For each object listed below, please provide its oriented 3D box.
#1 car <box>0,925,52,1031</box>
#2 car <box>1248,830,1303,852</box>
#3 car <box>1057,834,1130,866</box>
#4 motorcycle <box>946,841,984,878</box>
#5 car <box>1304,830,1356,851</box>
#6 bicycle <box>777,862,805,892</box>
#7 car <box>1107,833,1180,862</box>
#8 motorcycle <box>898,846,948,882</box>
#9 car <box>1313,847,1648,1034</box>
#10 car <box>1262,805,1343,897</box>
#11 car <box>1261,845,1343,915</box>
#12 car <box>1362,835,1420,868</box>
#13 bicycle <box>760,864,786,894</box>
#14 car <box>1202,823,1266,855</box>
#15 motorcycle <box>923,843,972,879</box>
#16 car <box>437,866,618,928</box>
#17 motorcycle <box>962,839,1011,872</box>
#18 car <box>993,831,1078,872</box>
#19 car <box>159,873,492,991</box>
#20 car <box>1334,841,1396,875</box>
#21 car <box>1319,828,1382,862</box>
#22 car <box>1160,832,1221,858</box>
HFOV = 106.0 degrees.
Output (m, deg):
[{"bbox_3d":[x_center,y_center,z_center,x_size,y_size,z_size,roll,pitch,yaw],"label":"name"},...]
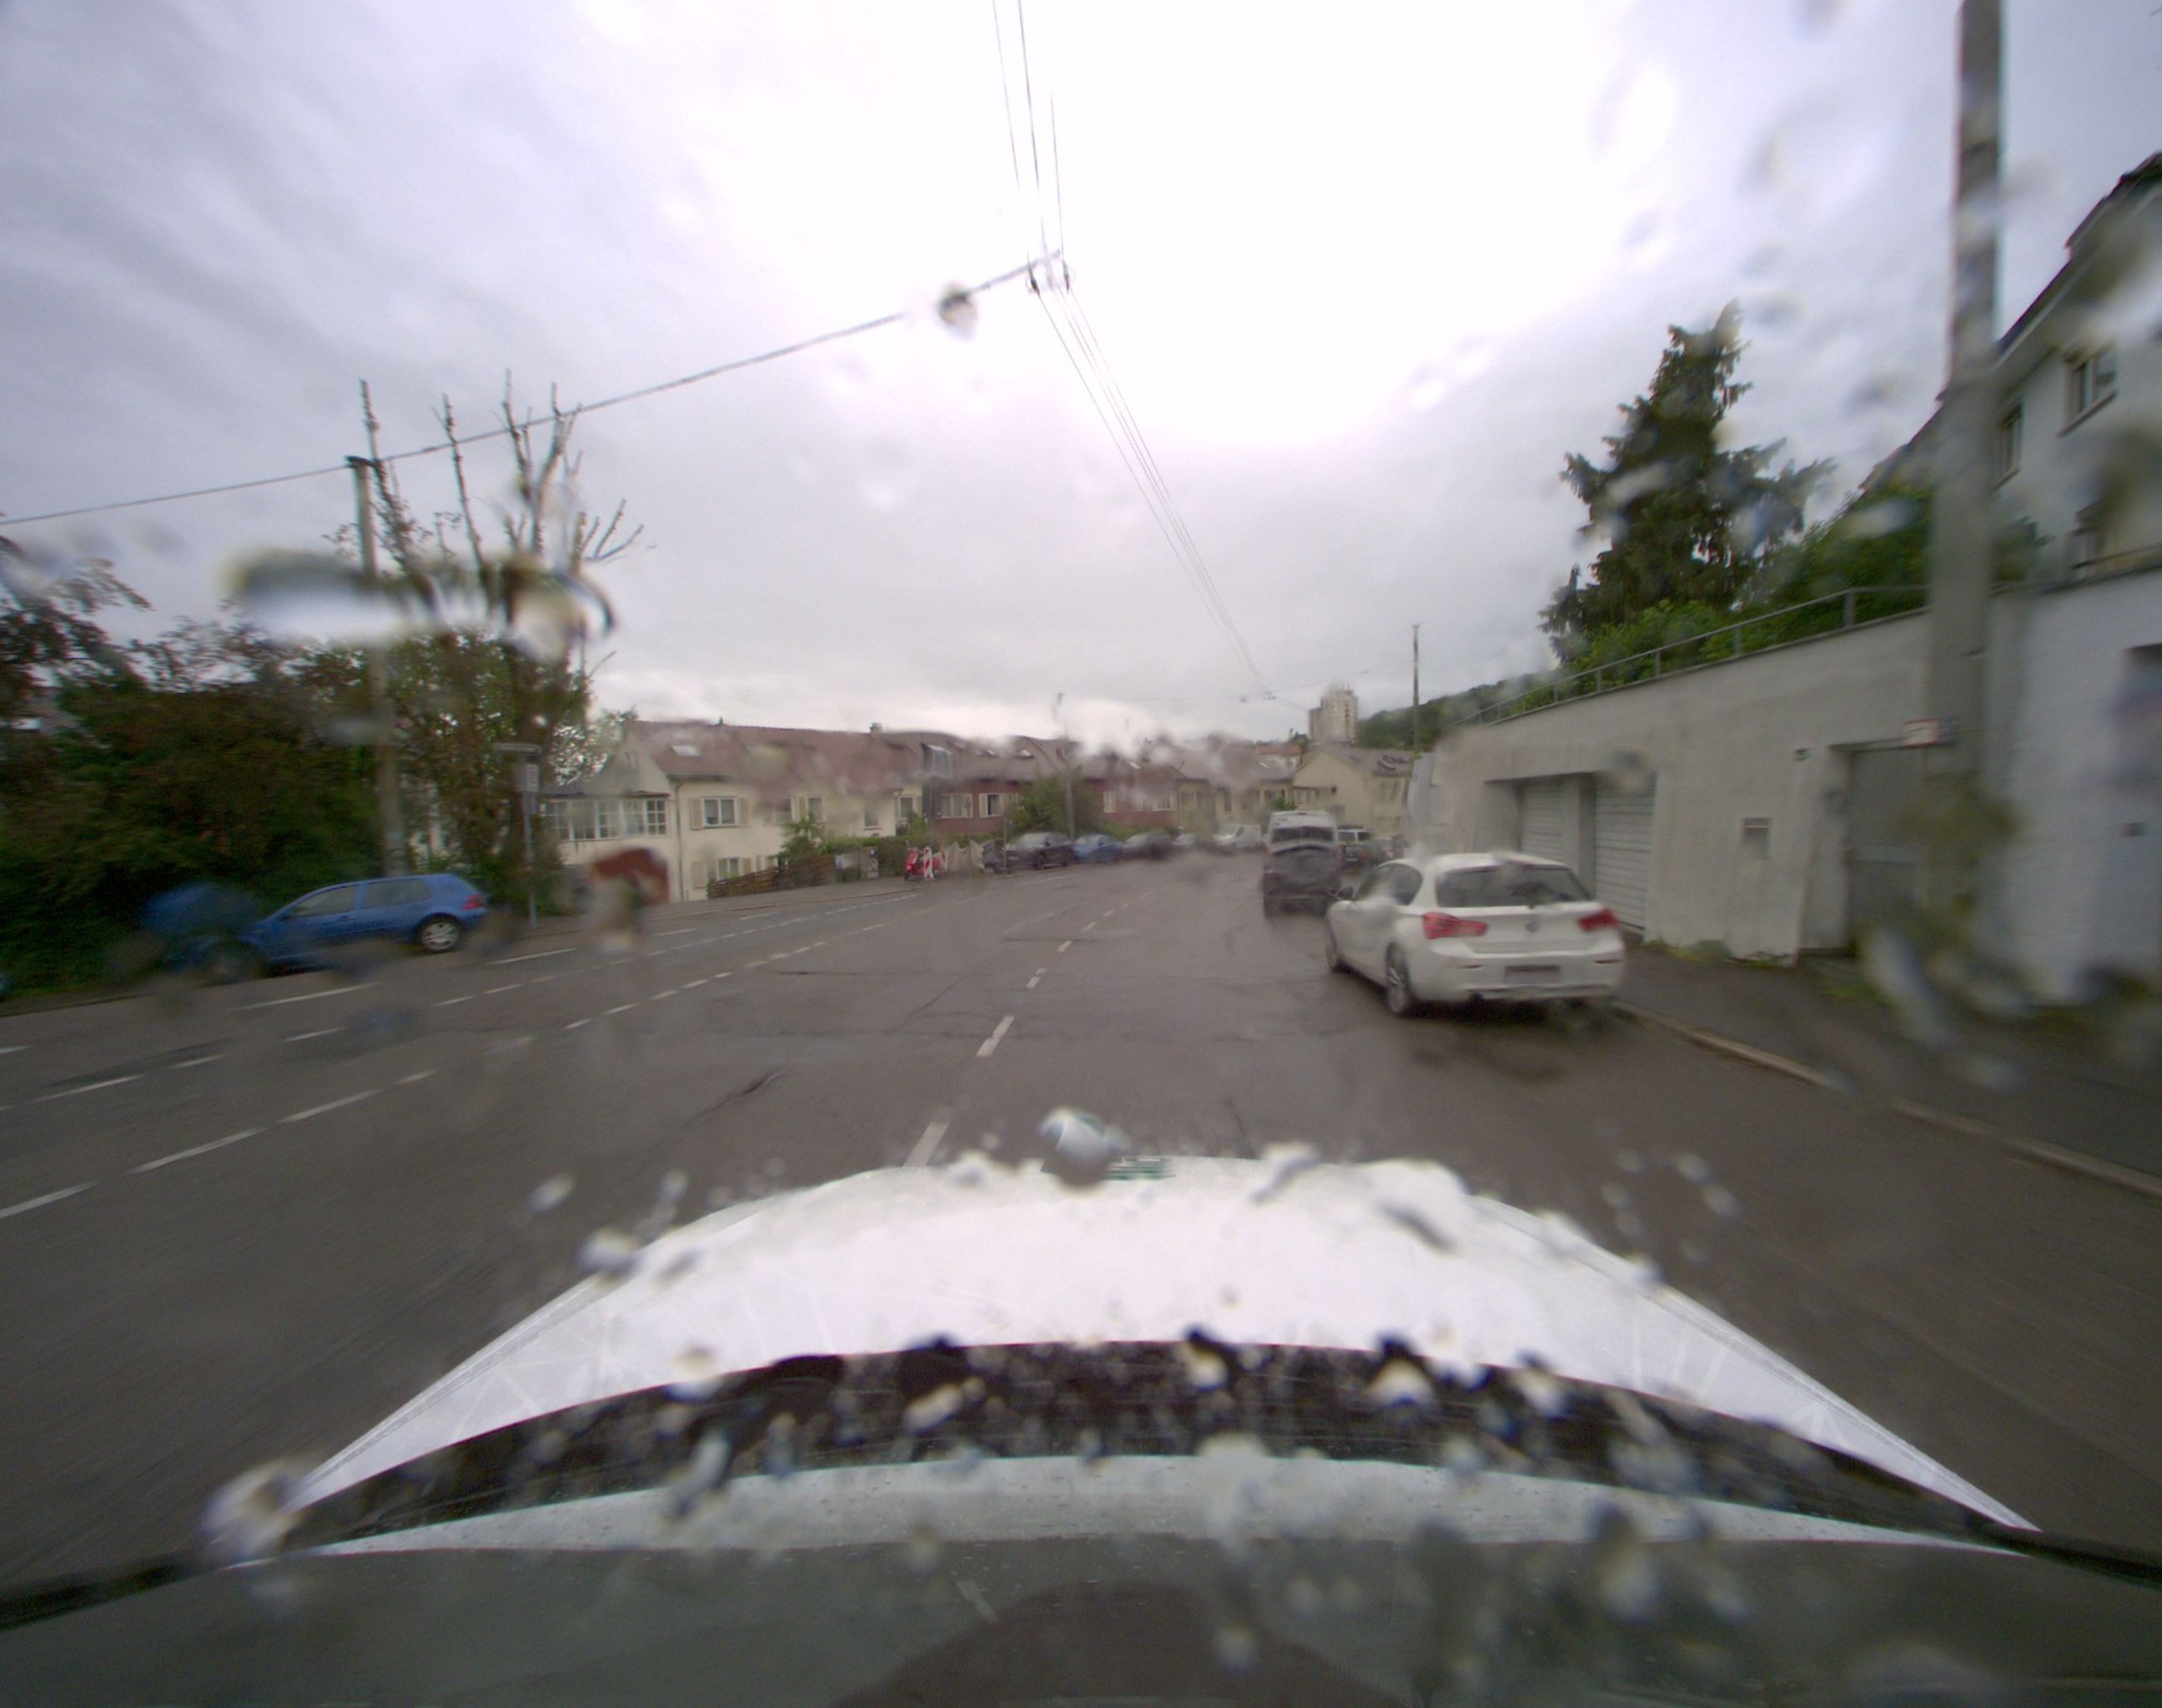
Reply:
[{"bbox_3d":[-17.784,1.917,11.230,4.078,1.494,1.831,-2,0,-17],"label":"car"},{"bbox_3d":[14.164,-0.960,59.169,4.548,1.476,1.792,-1,3,-45],"label":"car"},{"bbox_3d":[0.687,-0.260,40.848,1.683,1.404,4.501,3,3,29],"label":"car"},{"bbox_3d":[-4.413,0.184,30.934,0.616,1.303,1.787,-1,3,-39],"label":"motorcycle"},{"bbox_3d":[19.972,-1.116,65.278,4.704,1.630,1.912,-1,3,-44],"label":"car"},{"bbox_3d":[-10.510,0.834,29.514,1.287,1.035,0.307,-5,-5,40],"label":"bicycle"},{"bbox_3d":[3.525,-0.423,45.529,1.791,1.476,4.551,3,3,38],"label":"car"},{"bbox_3d":[-5.497,0.343,28.458,0.504,1.140,1.934,-2,1,30],"label":"motorcycle"},{"bbox_3d":[3.684,0.684,8.376,1.697,1.414,4.046,-2,0,5],"label":"car"},{"bbox_3d":[7.106,-0.096,25.709,2.082,2.542,5.647,-1,0,18],"label":"car"},{"bbox_3d":[5.464,0.572,20.309,1.741,1.495,4.200,-1,1,14],"label":"car"},{"bbox_3d":[16.858,-0.163,44.207,1.786,1.649,4.237,2,2,37],"label":"car"},{"bbox_3d":[-11.524,0.938,30.467,1.311,1.035,0.307,-6,-5,42],"label":"bicycle"},{"bbox_3d":[10.328,-1.035,54.805,1.831,2.078,5.052,3,3,42],"label":"car"},{"bbox_3d":[-4.923,0.237,30.063,1.785,1.279,0.514,1,2,23],"label":"motorcycle"},{"bbox_3d":[-14.380,1.071,21.305,1.534,1.327,3.586,-2,0,40],"label":"car"},{"bbox_3d":[-3.745,0.065,32.380,1.899,1.271,0.574,1,2,-8],"label":"motorcycle"},{"bbox_3d":[-1.947,-0.168,36.256,1.904,1.576,4.413,2,3,25],"label":"car"},{"bbox_3d":[-12.611,1.215,14.006,3.958,1.666,1.822,-1,-1,-35],"label":"car"},{"bbox_3d":[13.748,0.148,39.297,1.662,1.483,4.228,2,2,36],"label":"car"},{"bbox_3d":[16.573,-0.596,49.970,2.286,1.939,4.353,3,3,38],"label":"car"},{"bbox_3d":[6.798,-0.586,50.122,1.791,1.476,4.551,2,3,36],"label":"car"}]
